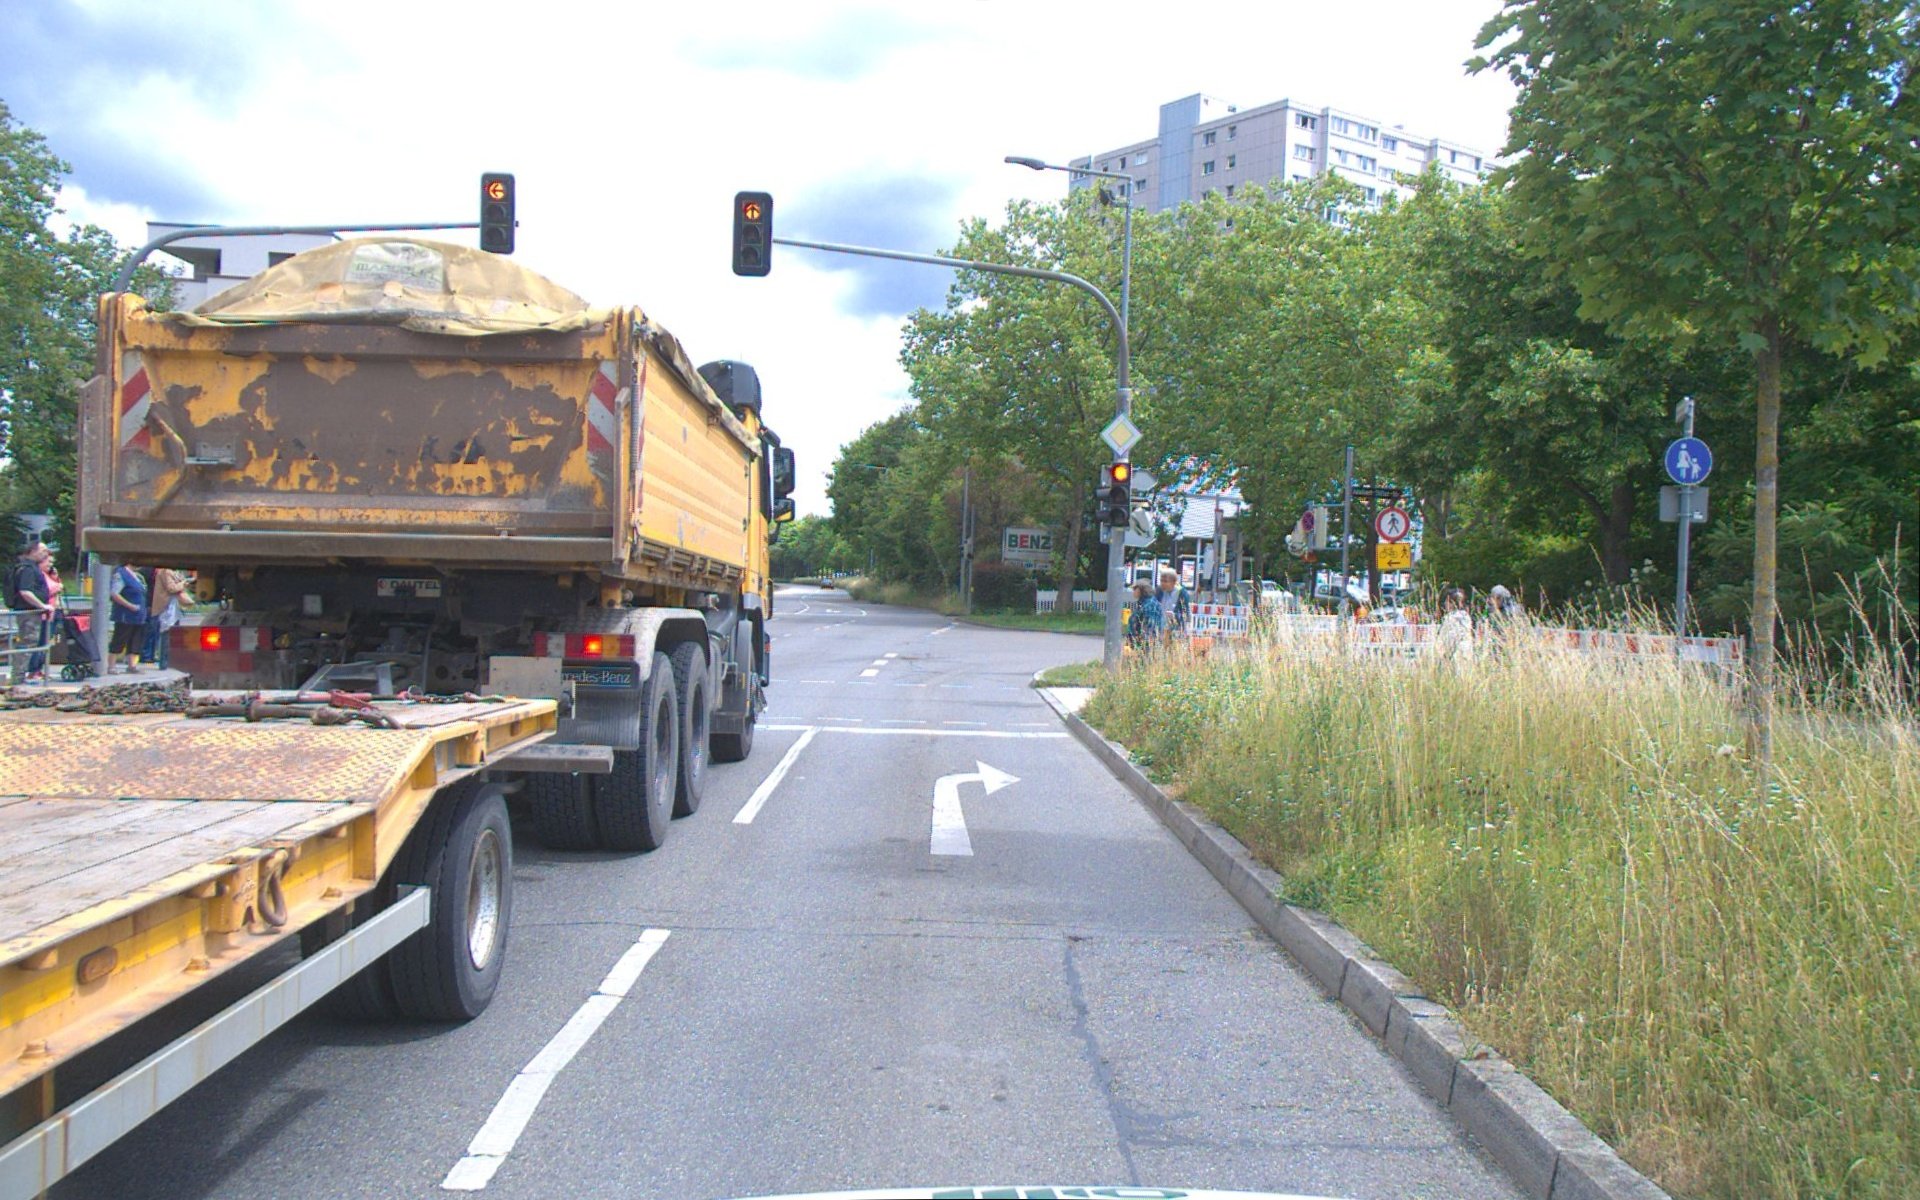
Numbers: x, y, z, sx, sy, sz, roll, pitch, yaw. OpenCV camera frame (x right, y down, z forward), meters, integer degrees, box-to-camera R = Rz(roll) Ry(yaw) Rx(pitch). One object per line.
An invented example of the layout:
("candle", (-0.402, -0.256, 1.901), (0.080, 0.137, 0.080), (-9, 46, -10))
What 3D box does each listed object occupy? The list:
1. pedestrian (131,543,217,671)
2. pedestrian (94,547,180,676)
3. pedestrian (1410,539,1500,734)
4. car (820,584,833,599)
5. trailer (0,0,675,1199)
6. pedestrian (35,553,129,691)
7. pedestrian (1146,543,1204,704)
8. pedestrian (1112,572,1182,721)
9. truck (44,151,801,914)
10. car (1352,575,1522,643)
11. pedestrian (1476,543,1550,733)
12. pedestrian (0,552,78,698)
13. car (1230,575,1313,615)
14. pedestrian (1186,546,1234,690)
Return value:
("pedestrian", (-10.808, 0.092, 22.778), (0.818, 1.699, 0.936), (2, 0, -13))
("pedestrian", (-10.742, 0.138, 21.613), (0.667, 1.630, 0.823), (2, 0, -2))
("pedestrian", (5.335, 0.389, 17.858), (0.659, 2.049, 0.633), (2, 0, -11))
("car", (-19.070, -1.250, 236.283), (1.657, 1.959, 3.996), (2, 1, -6))
("trailer", (-2.595, -0.508, 1.904), (2.674, 3.620, 11.251), (2, 1, -1))
("pedestrian", (-10.729, 0.259, 20.229), (0.667, 1.630, 0.823), (2, 0, -2))
("pedestrian", (2.779, 0.300, 21.394), (0.551, 2.049, 0.490), (2, 0, -10))
("pedestrian", (2.168, 0.529, 19.146), (0.615, 1.682, 0.562), (2, 0, 25))
("truck", (-2.845, -0.353, 11.714), (2.698, 3.371, 8.350), (2, 1, -1))
("car", (12.723, 0.225, 44.290), (3.907, 1.635, 1.999), (2, 1, -2))
("pedestrian", (6.099, 0.412, 18.241), (0.551, 2.049, 0.490), (2, 0, -10))
("pedestrian", (-10.725, 0.275, 19.038), (0.667, 1.630, 0.823), (2, 0, -2))
("car", (15.561, -0.240, 82.653), (3.960, 1.814, 1.973), (2, 1, -39))
("pedestrian", (3.622, 0.264, 23.984), (0.490, 2.049, 0.490), (2, 0, -10))
